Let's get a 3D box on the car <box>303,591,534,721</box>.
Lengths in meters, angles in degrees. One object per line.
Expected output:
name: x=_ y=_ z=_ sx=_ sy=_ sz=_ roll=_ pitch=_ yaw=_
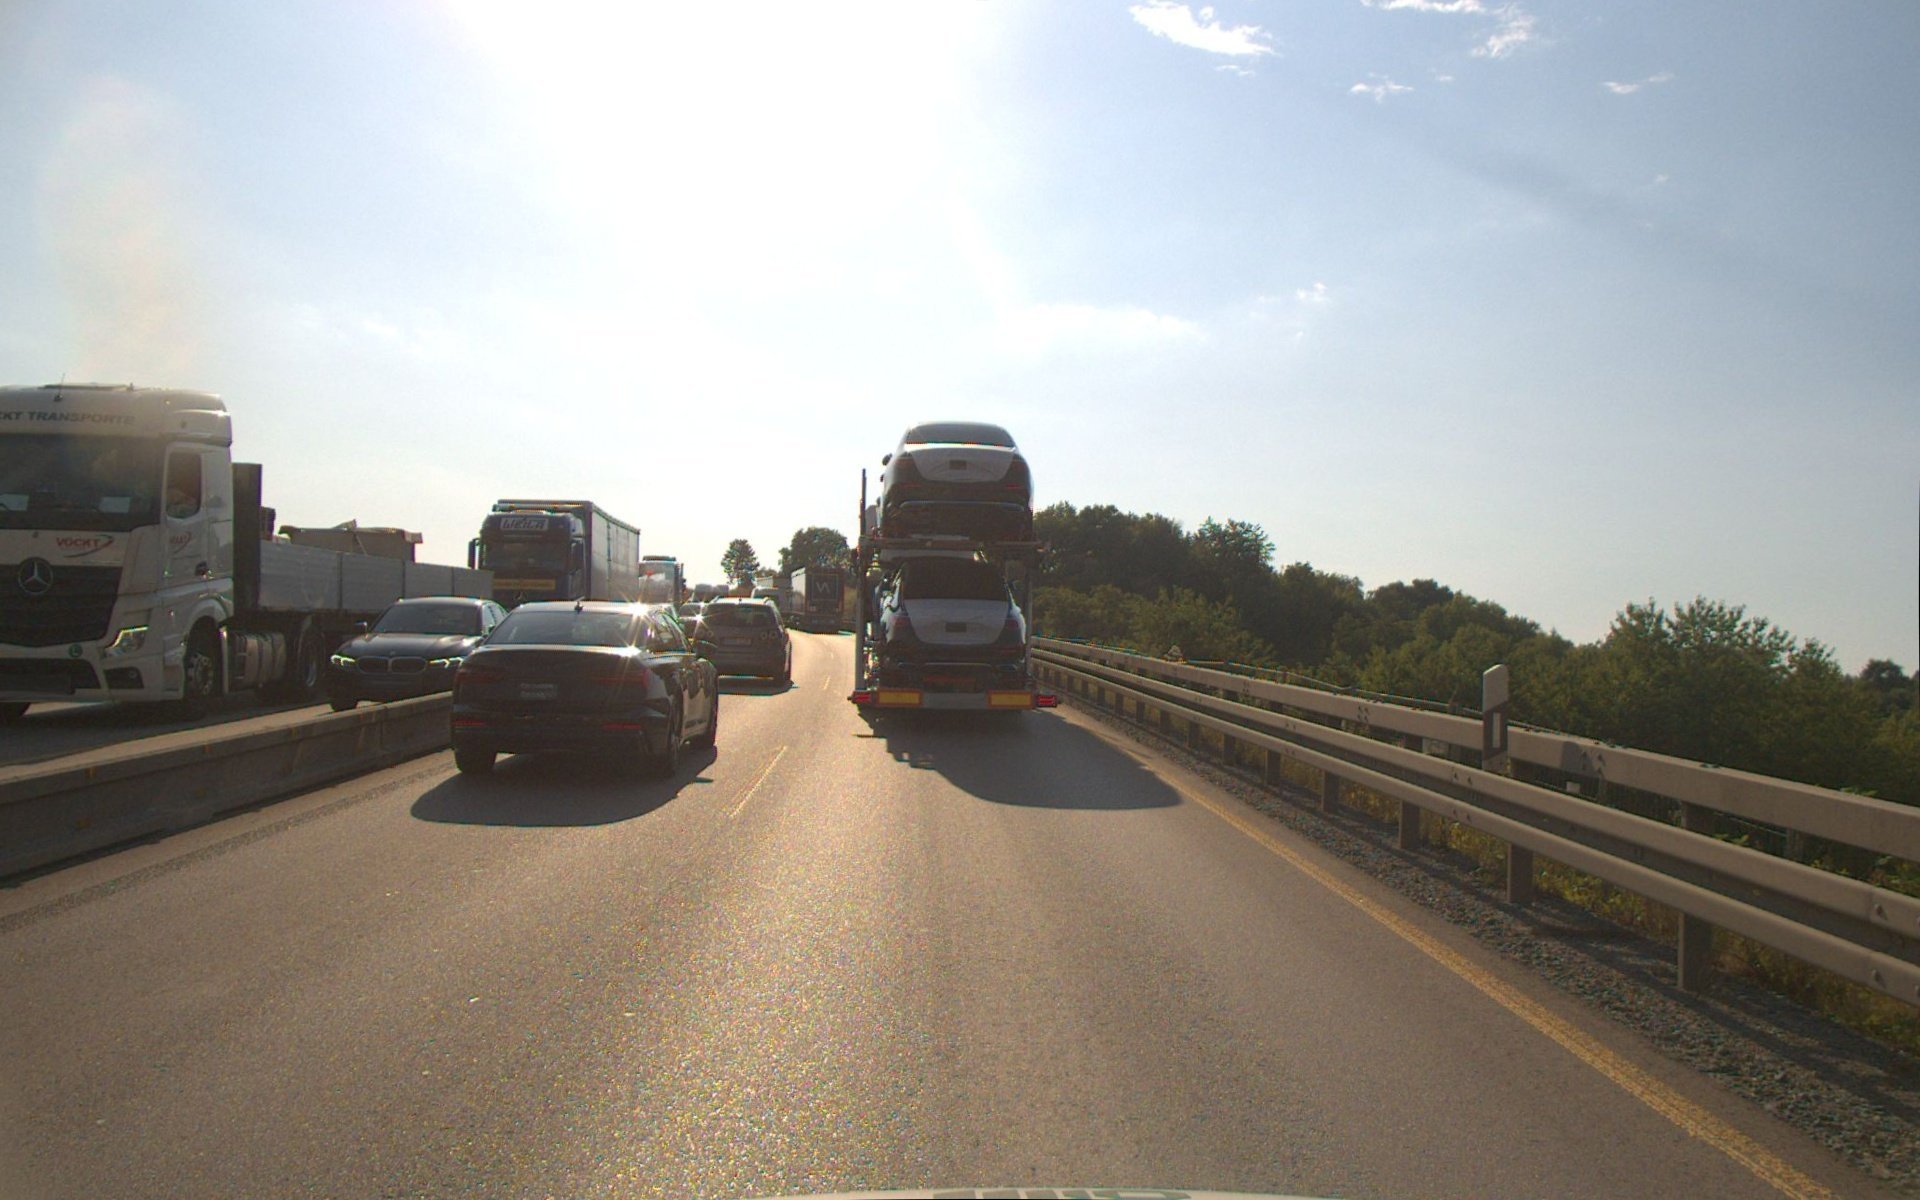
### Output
car: x=-7.076 y=0.691 z=22.115 sx=1.758 sy=1.538 sz=4.583 roll=1 pitch=-1 yaw=-3

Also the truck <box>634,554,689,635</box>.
truck: x=-15.910 y=-0.254 z=88.452 sx=2.455 sy=4.137 sz=5.875 roll=1 pitch=-1 yaw=-7

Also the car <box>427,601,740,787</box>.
car: x=-3.271 y=0.736 z=15.415 sx=1.895 sy=1.423 sz=4.959 roll=1 pitch=0 yaw=-2

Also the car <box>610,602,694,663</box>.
car: x=-8.229 y=0.845 z=44.436 sx=1.724 sy=1.534 sz=4.250 roll=1 pitch=-1 yaw=-4

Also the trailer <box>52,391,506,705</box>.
trailer: x=-10.193 y=-0.571 z=27.124 sx=2.470 sy=3.790 sz=13.967 roll=1 pitch=-1 yaw=-4

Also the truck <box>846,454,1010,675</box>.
truck: x=-0.902 y=-0.572 z=34.105 sx=2.782 sy=3.858 sz=9.977 roll=1 pitch=-1 yaw=-4

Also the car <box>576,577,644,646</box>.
car: x=-13.811 y=0.470 z=65.585 sx=2.116 sy=2.602 sz=5.580 roll=1 pitch=-1 yaw=-7

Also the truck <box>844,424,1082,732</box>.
truck: x=-0.260 y=-0.204 z=24.605 sx=2.743 sy=3.558 sz=10.597 roll=1 pitch=-1 yaw=-3

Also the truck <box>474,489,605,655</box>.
truck: x=-11.120 y=-0.674 z=44.236 sx=2.454 sy=4.137 sz=5.658 roll=1 pitch=-1 yaw=-5

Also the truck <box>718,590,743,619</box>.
truck: x=-26.132 y=0.548 z=188.475 sx=2.541 sy=3.226 sz=6.667 roll=1 pitch=-1 yaw=-7

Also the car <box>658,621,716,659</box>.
car: x=-10.540 y=1.517 z=64.103 sx=1.724 sy=1.402 sz=4.764 roll=1 pitch=-1 yaw=-4

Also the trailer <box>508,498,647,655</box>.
trailer: x=-11.711 y=-0.562 z=51.989 sx=2.262 sy=4.203 sz=14.583 roll=1 pitch=-1 yaw=-5

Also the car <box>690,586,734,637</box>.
car: x=-12.845 y=0.615 z=85.941 sx=2.017 sy=2.544 sz=6.765 roll=1 pitch=-1 yaw=-7

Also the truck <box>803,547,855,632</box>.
truck: x=-8.740 y=-0.636 z=109.784 sx=3.222 sy=5.328 sz=9.924 roll=1 pitch=-1 yaw=-5

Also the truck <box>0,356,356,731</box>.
truck: x=-9.760 y=-0.556 z=20.193 sx=2.549 sy=3.820 sz=6.513 roll=1 pitch=-1 yaw=-3

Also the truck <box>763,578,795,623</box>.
truck: x=-15.268 y=0.075 z=139.718 sx=2.481 sy=3.712 sz=8.894 roll=1 pitch=-1 yaw=-5

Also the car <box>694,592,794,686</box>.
car: x=-4.008 y=0.708 z=31.205 sx=1.658 sy=1.624 sz=3.996 roll=1 pitch=-1 yaw=-5

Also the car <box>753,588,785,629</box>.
car: x=-12.275 y=0.569 z=106.343 sx=1.883 sy=2.536 sz=5.402 roll=1 pitch=-1 yaw=-5
